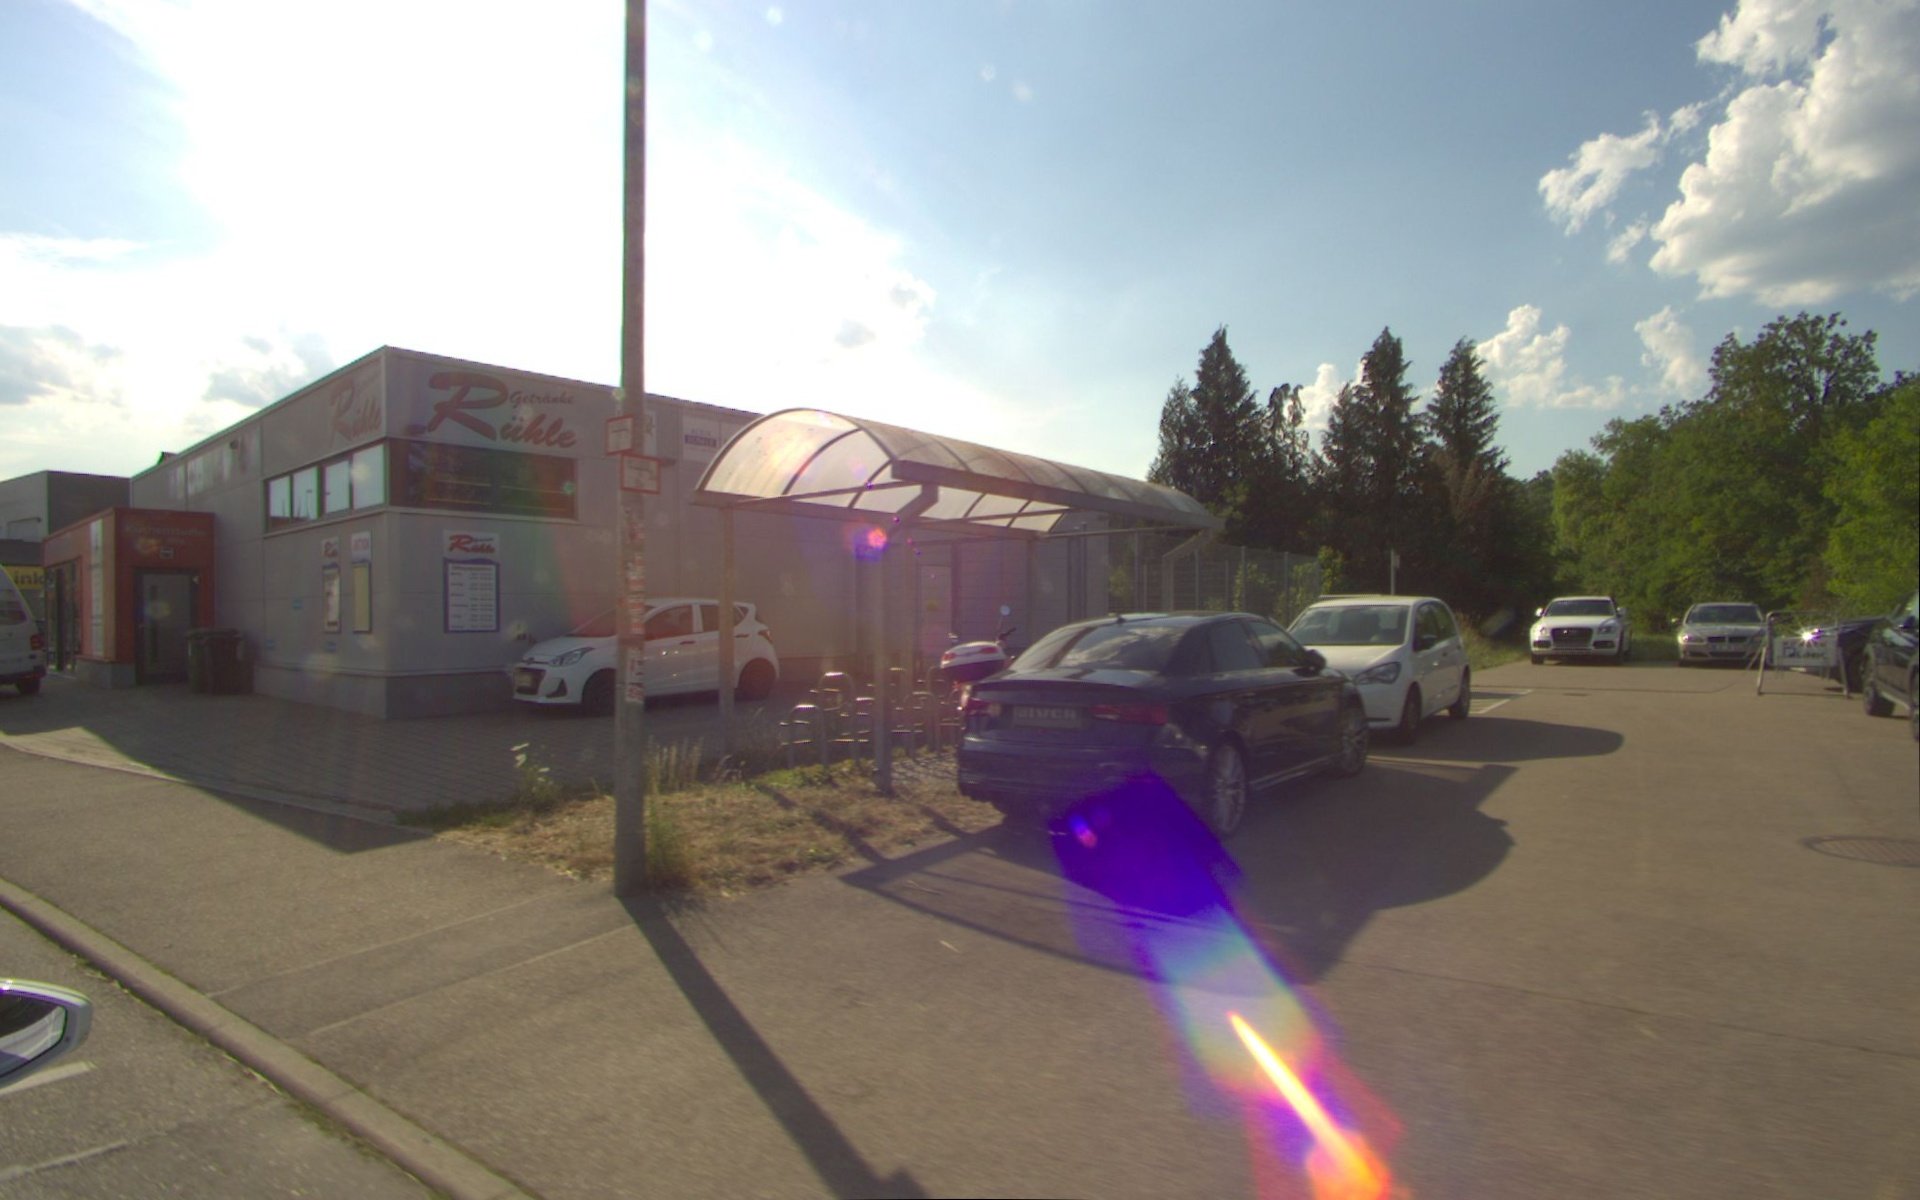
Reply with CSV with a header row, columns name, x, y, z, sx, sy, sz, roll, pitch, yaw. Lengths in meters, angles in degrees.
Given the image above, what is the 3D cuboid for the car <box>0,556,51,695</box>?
name,x,y,z,sx,sy,sz,roll,pitch,yaw
car,-18.855,0.462,18.328,5.101,2.406,1.833,-1,0,31

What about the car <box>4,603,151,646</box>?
name,x,y,z,sx,sy,sz,roll,pitch,yaw
car,-33.535,0.895,38.153,1.690,1.487,3.899,2,1,30

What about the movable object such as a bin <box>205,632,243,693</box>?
name,x,y,z,sx,sy,sz,roll,pitch,yaw
movable object such as a bin,-12.297,1.033,16.729,0.425,0.979,0.427,0,0,42

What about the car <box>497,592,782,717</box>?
name,x,y,z,sx,sy,sz,roll,pitch,yaw
car,-4.381,0.654,14.065,1.482,1.477,3.535,1,2,43

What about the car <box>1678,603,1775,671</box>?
name,x,y,z,sx,sy,sz,roll,pitch,yaw
car,17.310,0.773,22.608,1.607,1.393,4.159,-1,-1,38

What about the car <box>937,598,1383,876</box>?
name,x,y,z,sx,sy,sz,roll,pitch,yaw
car,1.741,0.752,7.503,1.606,1.435,4.047,-1,1,38

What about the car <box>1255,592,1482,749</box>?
name,x,y,z,sx,sy,sz,roll,pitch,yaw
car,4.711,0.673,11.298,1.480,1.435,3.422,-1,1,38

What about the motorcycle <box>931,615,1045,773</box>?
name,x,y,z,sx,sy,sz,roll,pitch,yaw
motorcycle,0.310,0.843,9.483,0.629,1.341,1.830,0,-2,16

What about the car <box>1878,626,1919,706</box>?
name,x,y,z,sx,sy,sz,roll,pitch,yaw
car,20.277,1.293,19.400,3.531,1.520,1.670,-1,0,38

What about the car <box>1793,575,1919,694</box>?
name,x,y,z,sx,sy,sz,roll,pitch,yaw
car,14.624,0.481,14.370,3.896,1.675,1.673,-1,0,32

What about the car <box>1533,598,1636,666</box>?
name,x,y,z,sx,sy,sz,roll,pitch,yaw
car,15.479,0.735,24.711,1.714,1.531,4.159,-1,-1,38

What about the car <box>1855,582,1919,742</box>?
name,x,y,z,sx,sy,sz,roll,pitch,yaw
car,10.126,0.548,9.672,1.660,1.467,3.929,-2,-1,34

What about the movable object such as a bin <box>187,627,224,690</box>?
name,x,y,z,sx,sy,sz,roll,pitch,yaw
movable object such as a bin,-12.893,0.990,17.114,0.484,1.056,0.427,0,0,42
